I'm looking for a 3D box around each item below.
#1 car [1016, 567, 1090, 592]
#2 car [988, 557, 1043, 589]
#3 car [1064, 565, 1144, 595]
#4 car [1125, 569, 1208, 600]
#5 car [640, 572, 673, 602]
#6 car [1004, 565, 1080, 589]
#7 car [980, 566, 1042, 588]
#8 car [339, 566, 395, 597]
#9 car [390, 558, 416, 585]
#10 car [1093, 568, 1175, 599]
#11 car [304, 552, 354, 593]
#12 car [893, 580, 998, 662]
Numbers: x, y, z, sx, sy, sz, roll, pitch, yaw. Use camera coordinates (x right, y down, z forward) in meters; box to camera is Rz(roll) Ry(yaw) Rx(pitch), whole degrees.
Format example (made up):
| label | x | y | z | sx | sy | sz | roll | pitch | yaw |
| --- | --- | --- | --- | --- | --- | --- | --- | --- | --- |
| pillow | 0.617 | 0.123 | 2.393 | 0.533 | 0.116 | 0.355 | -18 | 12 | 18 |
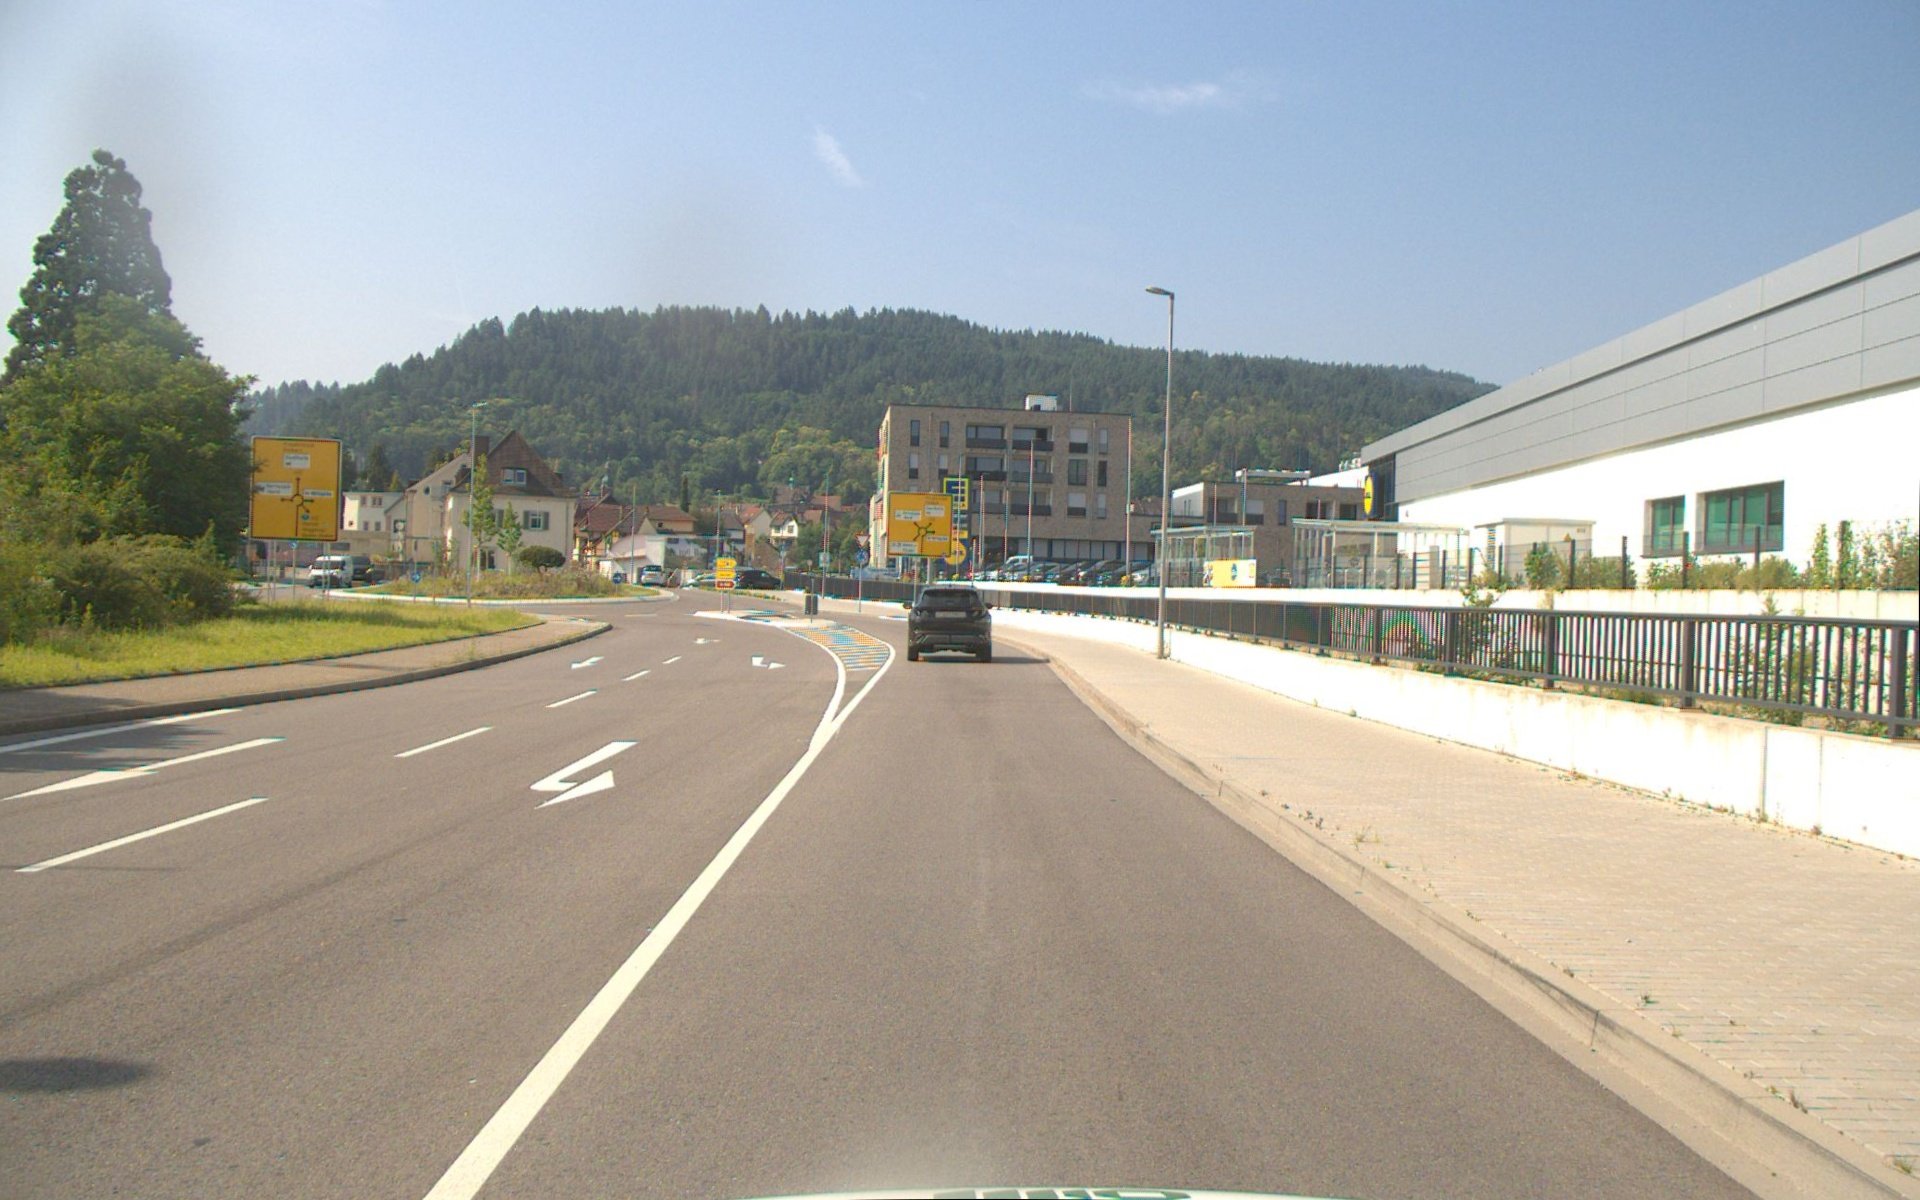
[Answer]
| label | x | y | z | sx | sy | sz | roll | pitch | yaw |
| --- | --- | --- | --- | --- | --- | --- | --- | --- | --- |
| car | 5.363 | -1.177 | 95.426 | 3.907 | 1.267 | 1.720 | 2 | 1 | -20 |
| car | 3.978 | -1.937 | 119.202 | 3.904 | 2.173 | 2.001 | 1 | 0 | 2 |
| car | 7.752 | -1.075 | 89.261 | 3.945 | 1.428 | 1.715 | 2 | 1 | -20 |
| car | 10.328 | -0.768 | 82.746 | 3.748 | 1.388 | 1.671 | 2 | 1 | -20 |
| car | -21.637 | -0.936 | 118.024 | 1.955 | 2.049 | 3.994 | 1 | 0 | -7 |
| car | 4.865 | -1.384 | 97.999 | 4.214 | 1.267 | 1.655 | 2 | 1 | -20 |
| car | 3.203 | -1.455 | 103.440 | 3.502 | 1.220 | 1.705 | 2 | 1 | -19 |
| car | -40.846 | -1.256 | 113.980 | 1.801 | 1.980 | 4.884 | 1 | 0 | 4 |
| car | -44.726 | -2.307 | 132.706 | 1.784 | 2.048 | 3.975 | 1 | 1 | -21 |
| car | 9.014 | -0.853 | 85.724 | 4.001 | 1.428 | 1.478 | 2 | 1 | -20 |
| car | -37.407 | -1.635 | 98.152 | 1.773 | 2.113 | 4.596 | 3 | 3 | -9 |
| car | -0.381 | 0.449 | 36.958 | 1.845 | 1.713 | 3.993 | 1 | 0 | -8 |
